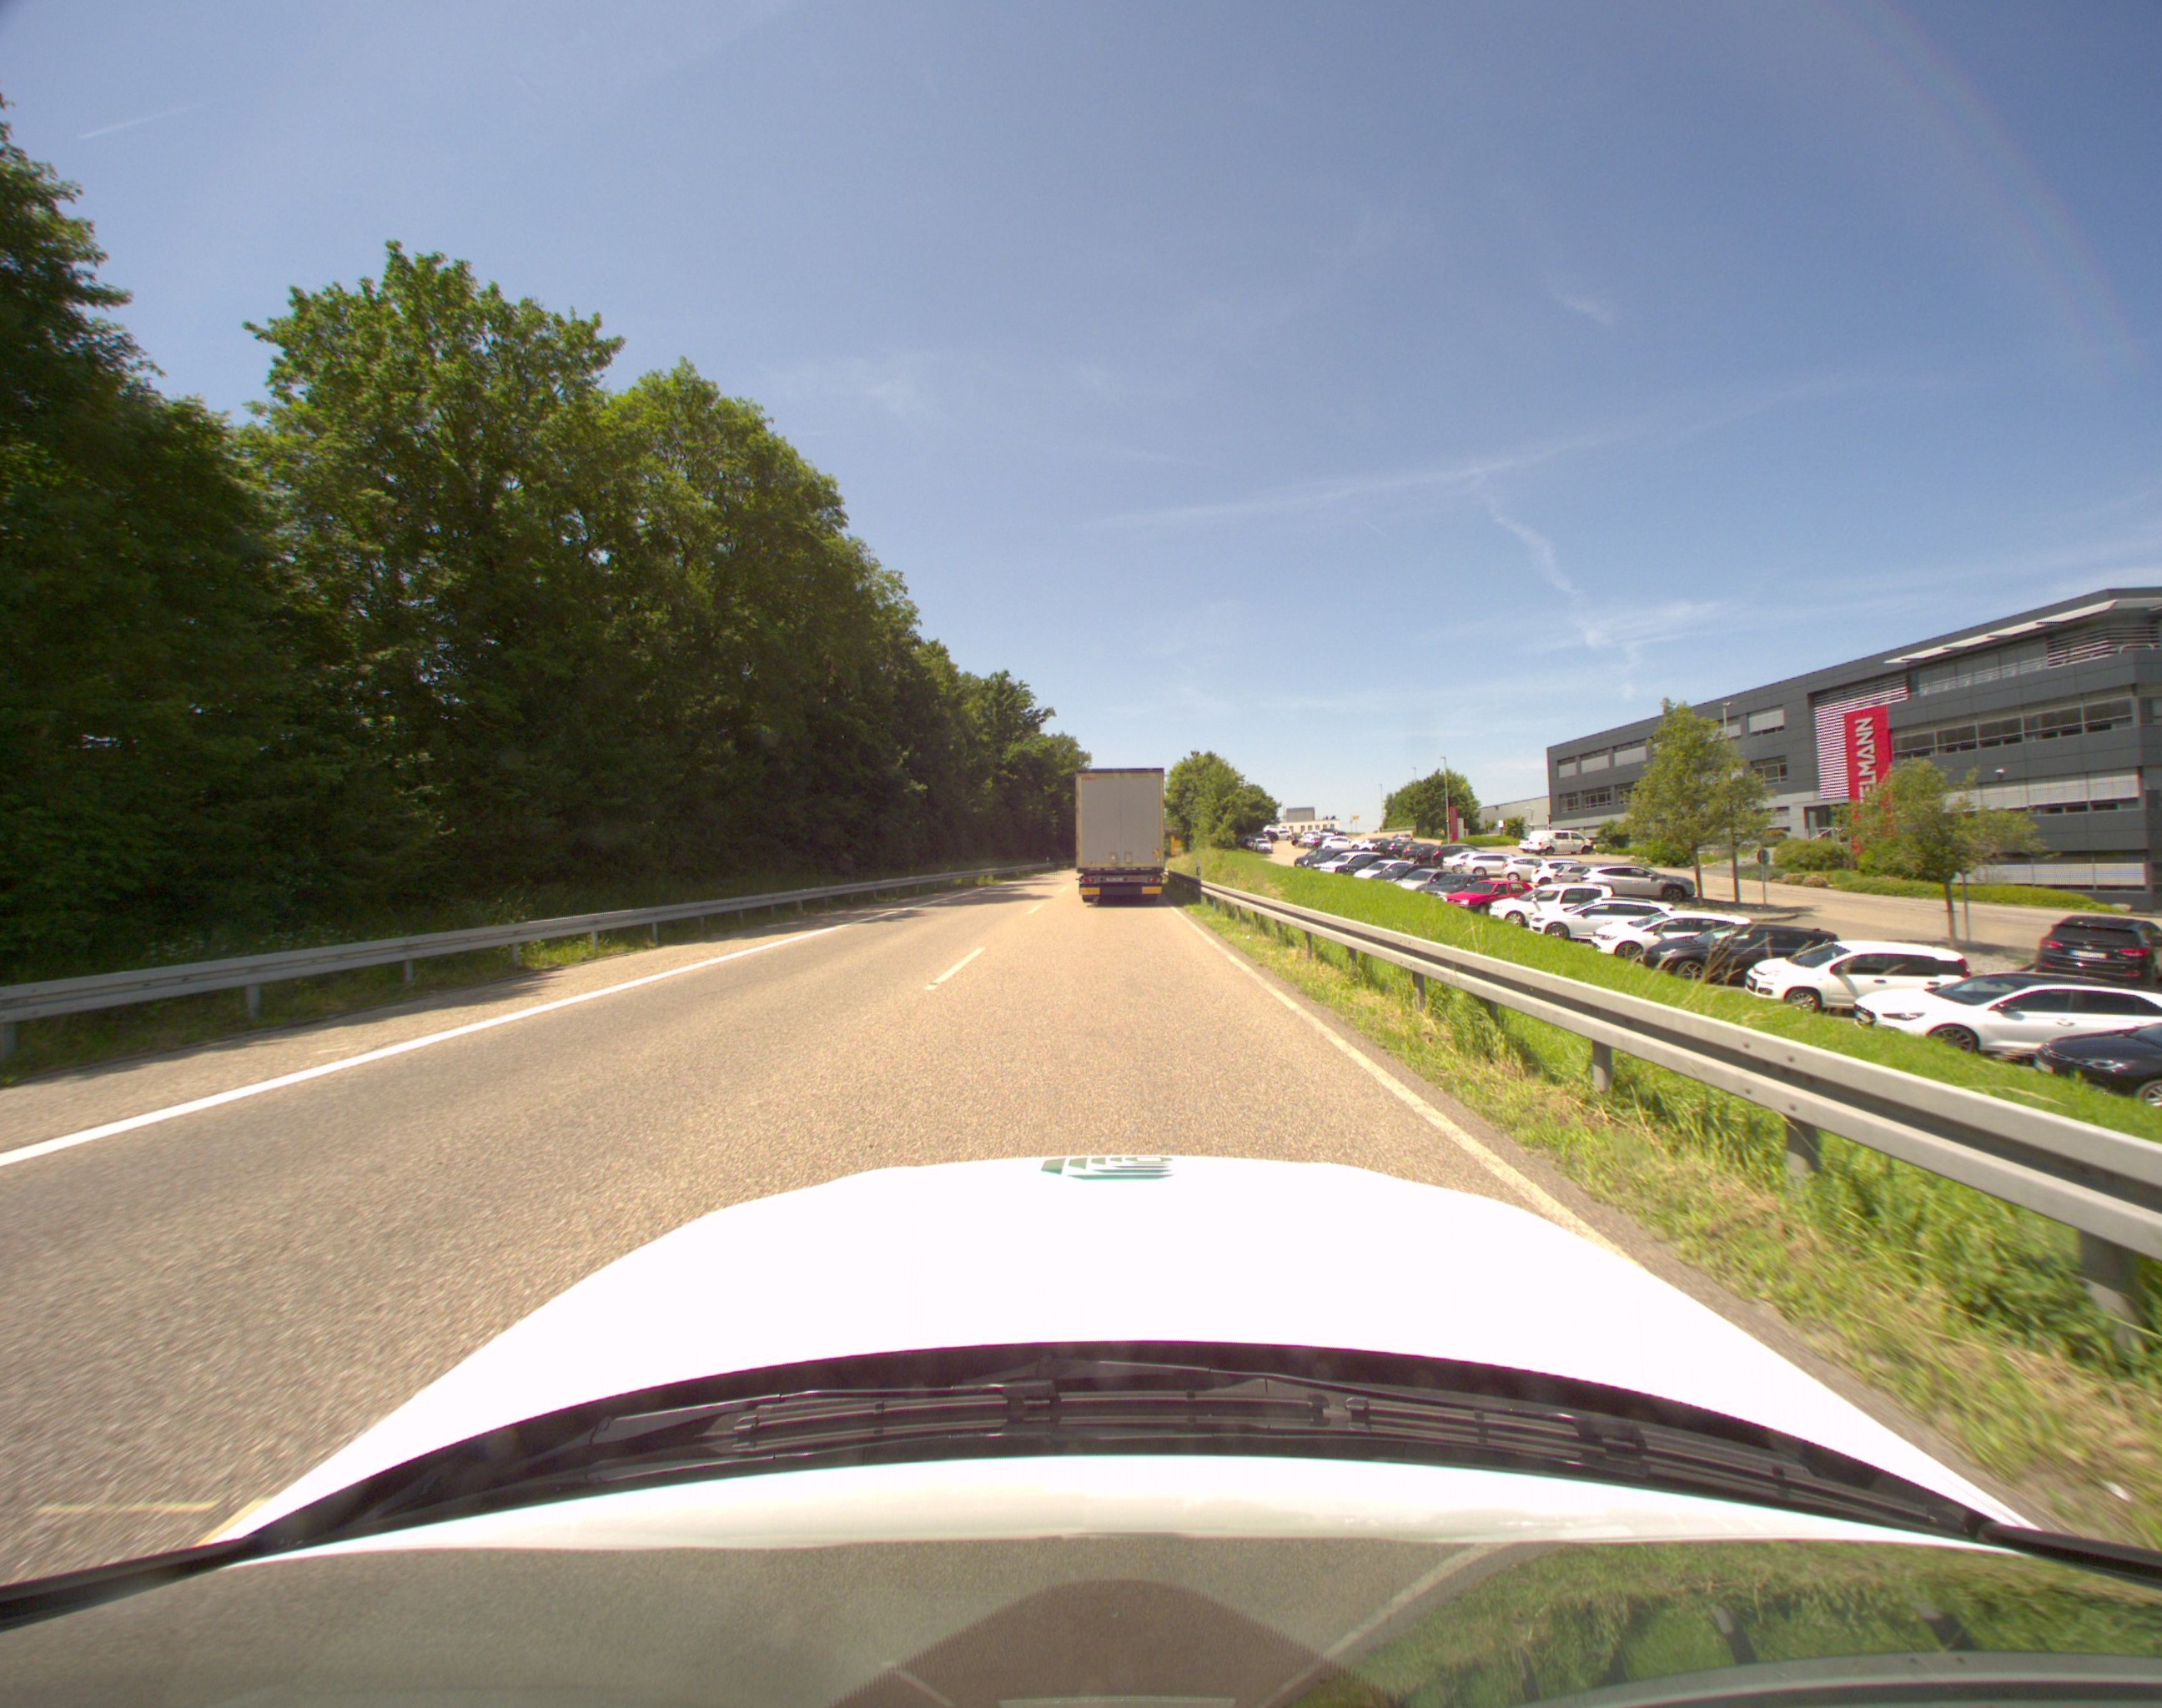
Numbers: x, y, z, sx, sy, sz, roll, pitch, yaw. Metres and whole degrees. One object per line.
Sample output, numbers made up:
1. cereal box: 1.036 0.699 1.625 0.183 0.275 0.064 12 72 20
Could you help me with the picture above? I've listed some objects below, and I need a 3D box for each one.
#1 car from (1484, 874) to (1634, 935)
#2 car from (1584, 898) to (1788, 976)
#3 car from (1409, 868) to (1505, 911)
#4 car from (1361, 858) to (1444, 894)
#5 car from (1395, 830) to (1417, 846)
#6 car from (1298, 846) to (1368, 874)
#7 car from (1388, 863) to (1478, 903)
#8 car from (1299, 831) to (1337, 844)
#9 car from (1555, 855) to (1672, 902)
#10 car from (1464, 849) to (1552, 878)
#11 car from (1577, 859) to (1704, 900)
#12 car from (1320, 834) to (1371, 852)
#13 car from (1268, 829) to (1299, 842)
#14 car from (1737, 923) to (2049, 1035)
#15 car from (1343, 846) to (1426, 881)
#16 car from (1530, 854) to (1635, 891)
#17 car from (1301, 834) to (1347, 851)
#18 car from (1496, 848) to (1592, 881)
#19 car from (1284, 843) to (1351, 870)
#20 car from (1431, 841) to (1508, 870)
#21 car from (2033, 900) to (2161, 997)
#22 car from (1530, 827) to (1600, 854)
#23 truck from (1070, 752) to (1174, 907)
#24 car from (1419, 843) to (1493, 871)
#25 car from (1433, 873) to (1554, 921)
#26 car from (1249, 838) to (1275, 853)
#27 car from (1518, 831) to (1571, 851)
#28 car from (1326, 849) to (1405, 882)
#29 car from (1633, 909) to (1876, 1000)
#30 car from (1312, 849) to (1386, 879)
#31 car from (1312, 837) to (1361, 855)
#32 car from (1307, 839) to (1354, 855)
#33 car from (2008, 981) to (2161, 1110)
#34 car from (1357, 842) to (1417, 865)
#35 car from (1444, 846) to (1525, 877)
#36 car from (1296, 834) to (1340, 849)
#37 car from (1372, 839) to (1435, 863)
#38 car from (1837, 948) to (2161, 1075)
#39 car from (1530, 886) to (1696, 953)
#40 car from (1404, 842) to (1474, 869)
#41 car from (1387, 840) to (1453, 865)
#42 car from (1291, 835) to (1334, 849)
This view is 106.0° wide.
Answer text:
1. car: 17.260 1.772 29.687 4.407 1.685 1.899 4 2 23
2. car: 17.059 2.285 23.264 4.324 1.559 1.899 4 3 25
3. car: 16.924 1.584 36.598 4.395 1.685 1.868 2 3 -35
4. car: 17.006 1.148 43.022 4.395 1.685 1.868 2 3 -35
5. car: 34.891 -1.670 87.531 1.793 1.662 4.016 1 0 15
6. car: 16.993 0.408 54.893 4.386 1.685 1.872 2 3 -27
7. car: 16.977 1.379 39.198 4.395 1.685 1.868 2 3 -35
8. car: 31.438 -2.205 108.103 4.527 1.629 1.832 1 0 36
9. car: 25.895 1.135 39.838 4.530 1.627 1.833 5 11 27
10. car: 25.690 0.536 49.049 4.527 1.519 1.833 0 5 32
11. car: 25.243 1.105 36.932 4.529 1.628 1.832 0 4 27
12. car: 25.818 -1.070 79.424 4.532 1.628 1.830 2 1 22
13. car: 30.252 -2.773 121.562 4.386 1.685 1.872 -2 4 -27
14. car: 17.220 2.578 17.608 4.324 1.559 1.873 4 3 25
15. car: 17.186 0.545 46.112 4.386 1.685 1.872 2 3 -27
16. car: 26.155 0.933 42.653 4.529 1.628 1.832 1 7 27
17. car: 26.338 -1.252 88.311 4.532 1.628 1.831 2 2 22
18. car: 25.953 0.595 45.815 4.529 1.477 1.832 -3 3 27
19. car: 16.898 0.197 58.144 4.386 1.685 1.872 2 3 -27
20. car: 26.123 0.061 54.805 4.530 1.628 1.832 5 3 28
21. car: 25.741 2.260 20.371 4.256 1.628 1.803 -4 6 -31
22. car: 39.112 -1.102 65.860 4.554 1.949 1.822 -2 2 2
23. truck: 1.321 -0.716 28.048 2.855 4.359 9.793 -1 0 2
24. car: 26.350 0.178 57.231 4.530 1.628 1.832 5 3 28
25. car: 16.870 1.755 33.320 4.377 1.685 1.876 2 2 -21
26. car: 18.649 -0.917 84.005 1.620 1.353 3.709 3 2 -2
27. car: 39.579 -1.088 69.597 3.647 1.588 1.686 -2 2 2
28. car: 17.055 0.692 48.743 4.386 1.685 1.872 2 3 -27
29. car: 16.777 2.445 20.604 4.324 1.559 1.899 4 3 25
30. car: 17.221 0.658 52.247 4.386 1.685 1.872 2 3 -27
31. car: 25.779 -0.822 82.139 4.532 1.628 1.830 2 2 22
32. car: 26.119 -0.704 85.201 4.531 1.628 1.830 0 1 22
33. car: 17.053 3.013 11.808 4.323 1.456 1.830 5 3 28
34. car: 26.286 -0.076 69.956 4.530 1.628 1.832 5 3 28
35. car: 25.865 0.442 52.260 4.530 1.628 1.832 5 3 28
36. car: 26.656 -1.373 91.512 4.532 1.629 1.830 0 -1 22
37. car: 26.430 -0.284 66.710 4.530 1.628 1.832 5 3 28
38. car: 16.882 2.783 14.700 4.324 1.456 1.829 4 3 25
39. car: 17.236 2.061 26.653 4.322 1.559 1.900 5 3 30
40. car: 26.593 0.105 60.452 4.530 1.628 1.832 5 3 28
41. car: 26.564 -0.146 63.772 4.530 1.628 1.832 5 3 28
42. car: 26.859 -1.378 94.556 4.532 1.629 1.830 1 0 22
